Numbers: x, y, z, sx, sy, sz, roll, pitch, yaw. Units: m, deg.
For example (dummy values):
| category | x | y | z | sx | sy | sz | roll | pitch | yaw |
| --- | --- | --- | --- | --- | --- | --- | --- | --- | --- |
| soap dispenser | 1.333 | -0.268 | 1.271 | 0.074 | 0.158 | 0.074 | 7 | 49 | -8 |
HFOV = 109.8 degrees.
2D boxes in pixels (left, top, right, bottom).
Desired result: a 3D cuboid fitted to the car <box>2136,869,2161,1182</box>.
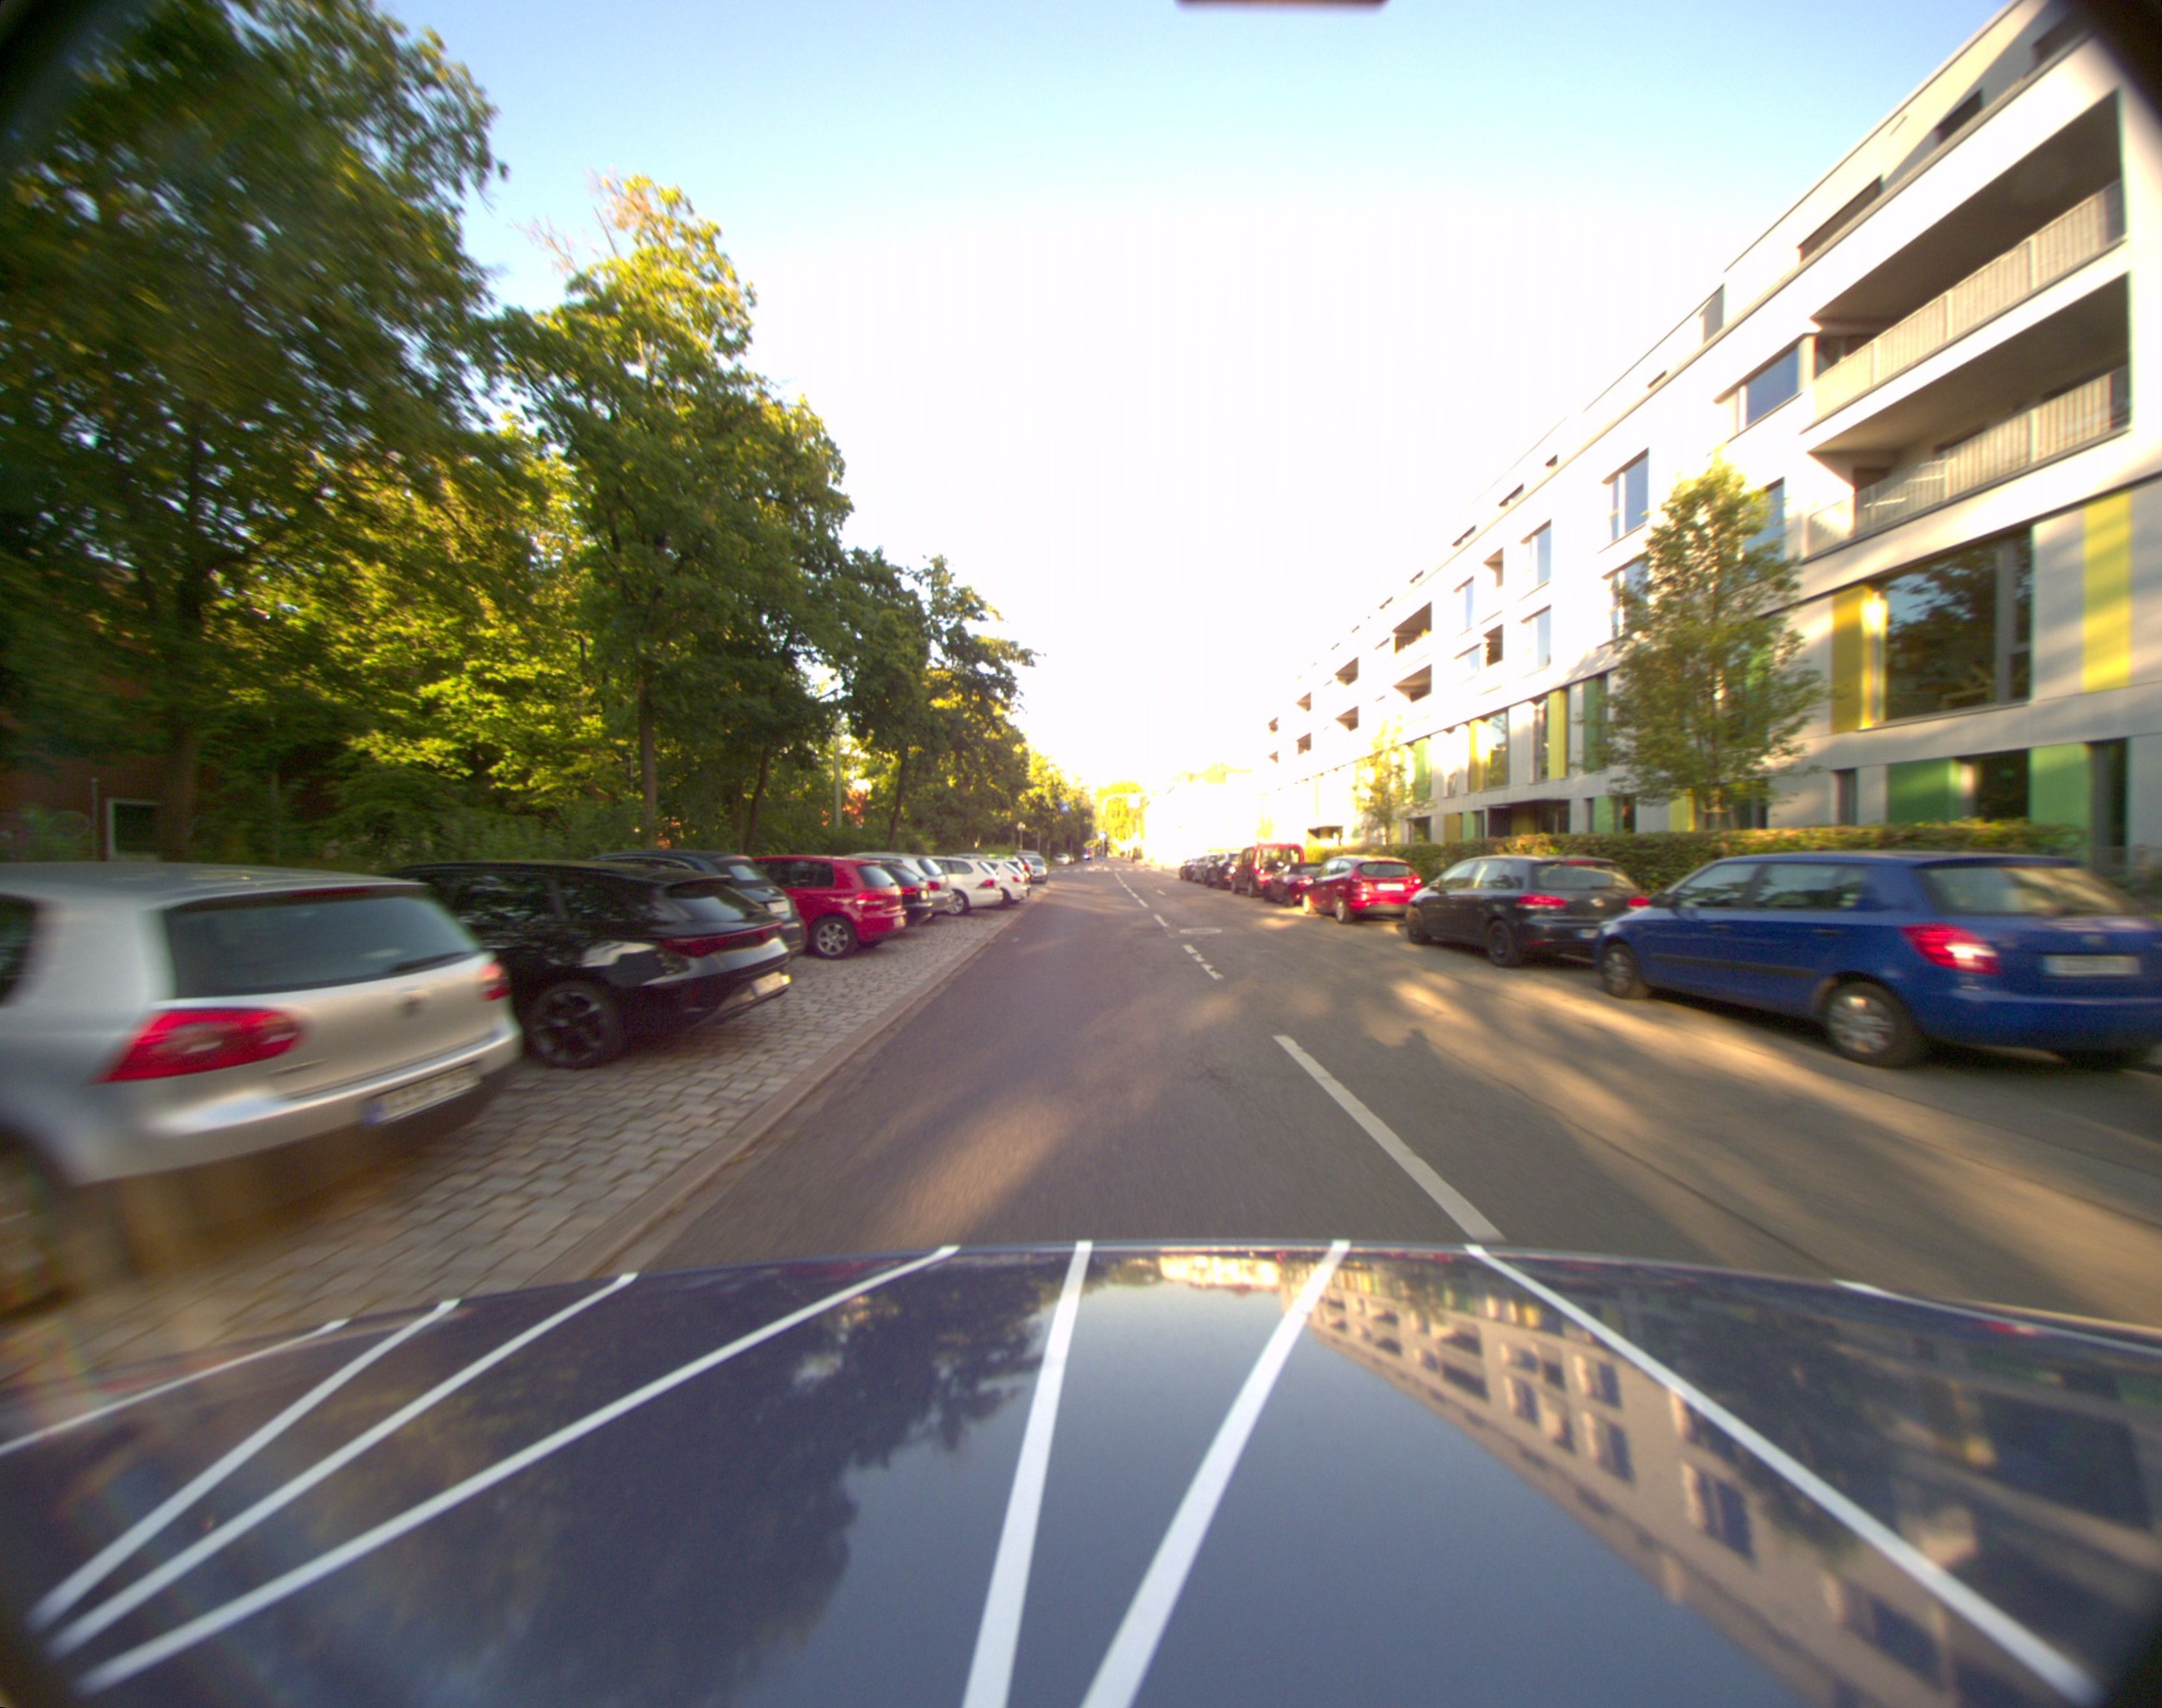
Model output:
| category | x | y | z | sx | sy | sz | roll | pitch | yaw |
| --- | --- | --- | --- | --- | --- | --- | --- | --- | --- |
| car | 5.919 | 0.835 | 1.789 | 1.605 | 1.485 | 3.772 | 1 | 0 | 0 |

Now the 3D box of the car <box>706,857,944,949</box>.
| category | x | y | z | sx | sy | sz | roll | pitch | yaw |
| --- | --- | --- | --- | --- | --- | --- | --- | --- | --- |
| car | -4.612 | 0.854 | 14.087 | 3.758 | 1.387 | 1.756 | 3 | 2 | 1 |

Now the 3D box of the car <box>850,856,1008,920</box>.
| category | x | y | z | sx | sy | sz | roll | pitch | yaw |
| --- | --- | --- | --- | --- | --- | --- | --- | --- | --- |
| car | -3.766 | 0.823 | 19.294 | 3.676 | 1.544 | 1.734 | 0 | 1 | -1 |

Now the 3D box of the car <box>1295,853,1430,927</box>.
| category | x | y | z | sx | sy | sz | roll | pitch | yaw |
| --- | --- | --- | --- | --- | --- | --- | --- | --- | --- |
| car | 6.209 | 0.720 | 17.205 | 1.602 | 1.447 | 3.861 | 0 | 1 | 0 |

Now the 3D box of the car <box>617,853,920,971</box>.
| category | x | y | z | sx | sy | sz | roll | pitch | yaw |
| --- | --- | --- | --- | --- | --- | --- | --- | --- | --- |
| car | -4.574 | 0.814 | 11.535 | 3.816 | 1.466 | 1.756 | 3 | 1 | 1 |

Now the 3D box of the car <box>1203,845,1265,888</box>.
| category | x | y | z | sx | sy | sz | roll | pitch | yaw |
| --- | --- | --- | --- | --- | --- | --- | --- | --- | --- |
| car | 6.412 | 0.487 | 32.299 | 1.746 | 1.666 | 4.416 | 1 | 0 | 0 |

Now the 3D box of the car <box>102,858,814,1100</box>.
| category | x | y | z | sx | sy | sz | roll | pitch | yaw |
| --- | --- | --- | --- | --- | --- | --- | --- | --- | --- |
| car | -4.547 | 0.859 | 6.072 | 4.131 | 1.466 | 1.831 | 2 | 1 | -1 |

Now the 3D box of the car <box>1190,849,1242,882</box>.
| category | x | y | z | sx | sy | sz | roll | pitch | yaw |
| --- | --- | --- | --- | --- | --- | --- | --- | --- | --- |
| car | 6.684 | 0.522 | 38.019 | 1.746 | 1.525 | 4.115 | -1 | 1 | -1 |

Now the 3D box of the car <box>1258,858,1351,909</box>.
| category | x | y | z | sx | sy | sz | roll | pitch | yaw |
| --- | --- | --- | --- | --- | --- | --- | --- | --- | --- |
| car | 6.314 | 0.791 | 21.836 | 1.560 | 1.272 | 3.732 | 1 | 0 | 0 |

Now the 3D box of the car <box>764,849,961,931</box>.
| category | x | y | z | sx | sy | sz | roll | pitch | yaw |
| --- | --- | --- | --- | --- | --- | --- | --- | --- | --- |
| car | -4.695 | 0.744 | 16.717 | 3.734 | 1.490 | 1.820 | 3 | 2 | 1 |

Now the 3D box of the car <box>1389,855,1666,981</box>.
| category | x | y | z | sx | sy | sz | roll | pitch | yaw |
| --- | --- | --- | --- | --- | --- | --- | --- | --- | --- |
| car | 6.120 | 0.768 | 11.041 | 1.602 | 1.447 | 4.054 | 1 | 0 | 0 |

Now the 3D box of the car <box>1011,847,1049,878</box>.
| category | x | y | z | sx | sy | sz | roll | pitch | yaw |
| --- | --- | --- | --- | --- | --- | --- | --- | --- | --- |
| car | -3.160 | 0.482 | 46.222 | 1.928 | 1.738 | 4.661 | 0 | 1 | -9 |

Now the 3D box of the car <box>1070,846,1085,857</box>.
| category | x | y | z | sx | sy | sz | roll | pitch | yaw |
| --- | --- | --- | --- | --- | --- | --- | --- | --- | --- |
| car | -0.460 | -0.349 | 104.202 | 1.752 | 1.478 | 4.509 | 0 | 1 | 3 |

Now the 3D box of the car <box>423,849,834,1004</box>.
| category | x | y | z | sx | sy | sz | roll | pitch | yaw |
| --- | --- | --- | --- | --- | --- | --- | --- | --- | --- |
| car | -5.226 | 0.775 | 9.148 | 3.816 | 1.466 | 1.832 | 3 | 1 | 2 |

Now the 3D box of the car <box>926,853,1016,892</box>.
| category | x | y | z | sx | sy | sz | roll | pitch | yaw |
| --- | --- | --- | --- | --- | --- | --- | --- | --- | --- |
| car | -4.415 | 0.738 | 30.817 | 3.393 | 1.517 | 1.671 | 0 | 1 | 1 |

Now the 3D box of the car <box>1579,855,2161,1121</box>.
| category | x | y | z | sx | sy | sz | roll | pitch | yaw |
| --- | --- | --- | --- | --- | --- | --- | --- | --- | --- |
| car | 6.102 | 0.776 | 6.274 | 1.602 | 1.499 | 3.787 | 1 | 0 | 3 |

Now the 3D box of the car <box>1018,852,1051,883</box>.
| category | x | y | z | sx | sy | sz | roll | pitch | yaw |
| --- | --- | --- | --- | --- | --- | --- | --- | --- | --- |
| car | -2.485 | 0.673 | 39.996 | 1.655 | 1.558 | 4.299 | 0 | 0 | -4 |

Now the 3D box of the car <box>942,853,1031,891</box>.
| category | x | y | z | sx | sy | sz | roll | pitch | yaw |
| --- | --- | --- | --- | --- | --- | --- | --- | --- | --- |
| car | -4.112 | 0.761 | 33.358 | 3.636 | 1.531 | 1.671 | -2 | 1 | 1 |

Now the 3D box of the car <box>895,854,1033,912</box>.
| category | x | y | z | sx | sy | sz | roll | pitch | yaw |
| --- | --- | --- | --- | --- | --- | --- | --- | --- | --- |
| car | -3.306 | 0.805 | 22.036 | 3.676 | 1.436 | 1.734 | 3 | 1 | -1 |

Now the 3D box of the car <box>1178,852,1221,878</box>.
| category | x | y | z | sx | sy | sz | roll | pitch | yaw |
| --- | --- | --- | --- | --- | --- | --- | --- | --- | --- |
| car | 6.576 | 0.584 | 42.567 | 1.746 | 1.349 | 4.396 | 0 | 1 | 1 |

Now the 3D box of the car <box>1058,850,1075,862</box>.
| category | x | y | z | sx | sy | sz | roll | pitch | yaw |
| --- | --- | --- | --- | --- | --- | --- | --- | --- | --- |
| car | -1.838 | 0.255 | 97.366 | 1.752 | 1.478 | 4.177 | 0 | 0 | 4 |

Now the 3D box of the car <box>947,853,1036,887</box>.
| category | x | y | z | sx | sy | sz | roll | pitch | yaw |
| --- | --- | --- | --- | --- | --- | --- | --- | --- | --- |
| car | -4.161 | 0.731 | 35.841 | 3.959 | 1.503 | 1.739 | 0 | 1 | 0 |

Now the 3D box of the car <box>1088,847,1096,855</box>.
| category | x | y | z | sx | sy | sz | roll | pitch | yaw |
| --- | --- | --- | --- | --- | --- | --- | --- | --- | --- |
| car | 2.860 | -0.816 | 196.716 | 2.228 | 2.002 | 4.890 | 0 | 0 | 2 |

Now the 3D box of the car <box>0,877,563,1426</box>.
| category | x | y | z | sx | sy | sz | roll | pitch | yaw |
| --- | --- | --- | --- | --- | --- | --- | --- | --- | --- |
| car | -4.816 | 0.911 | 3.259 | 3.933 | 1.446 | 1.832 | 2 | 1 | 2 |

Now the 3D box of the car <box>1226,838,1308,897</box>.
| category | x | y | z | sx | sy | sz | roll | pitch | yaw |
| --- | --- | --- | --- | --- | --- | --- | --- | --- | --- |
| car | 6.469 | 0.433 | 26.868 | 1.812 | 1.878 | 4.237 | 1 | 0 | 0 |

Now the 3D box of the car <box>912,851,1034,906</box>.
| category | x | y | z | sx | sy | sz | roll | pitch | yaw |
| --- | --- | --- | --- | --- | --- | --- | --- | --- | --- |
| car | -3.406 | 0.766 | 24.353 | 3.619 | 1.517 | 1.671 | 3 | 1 | -1 |
